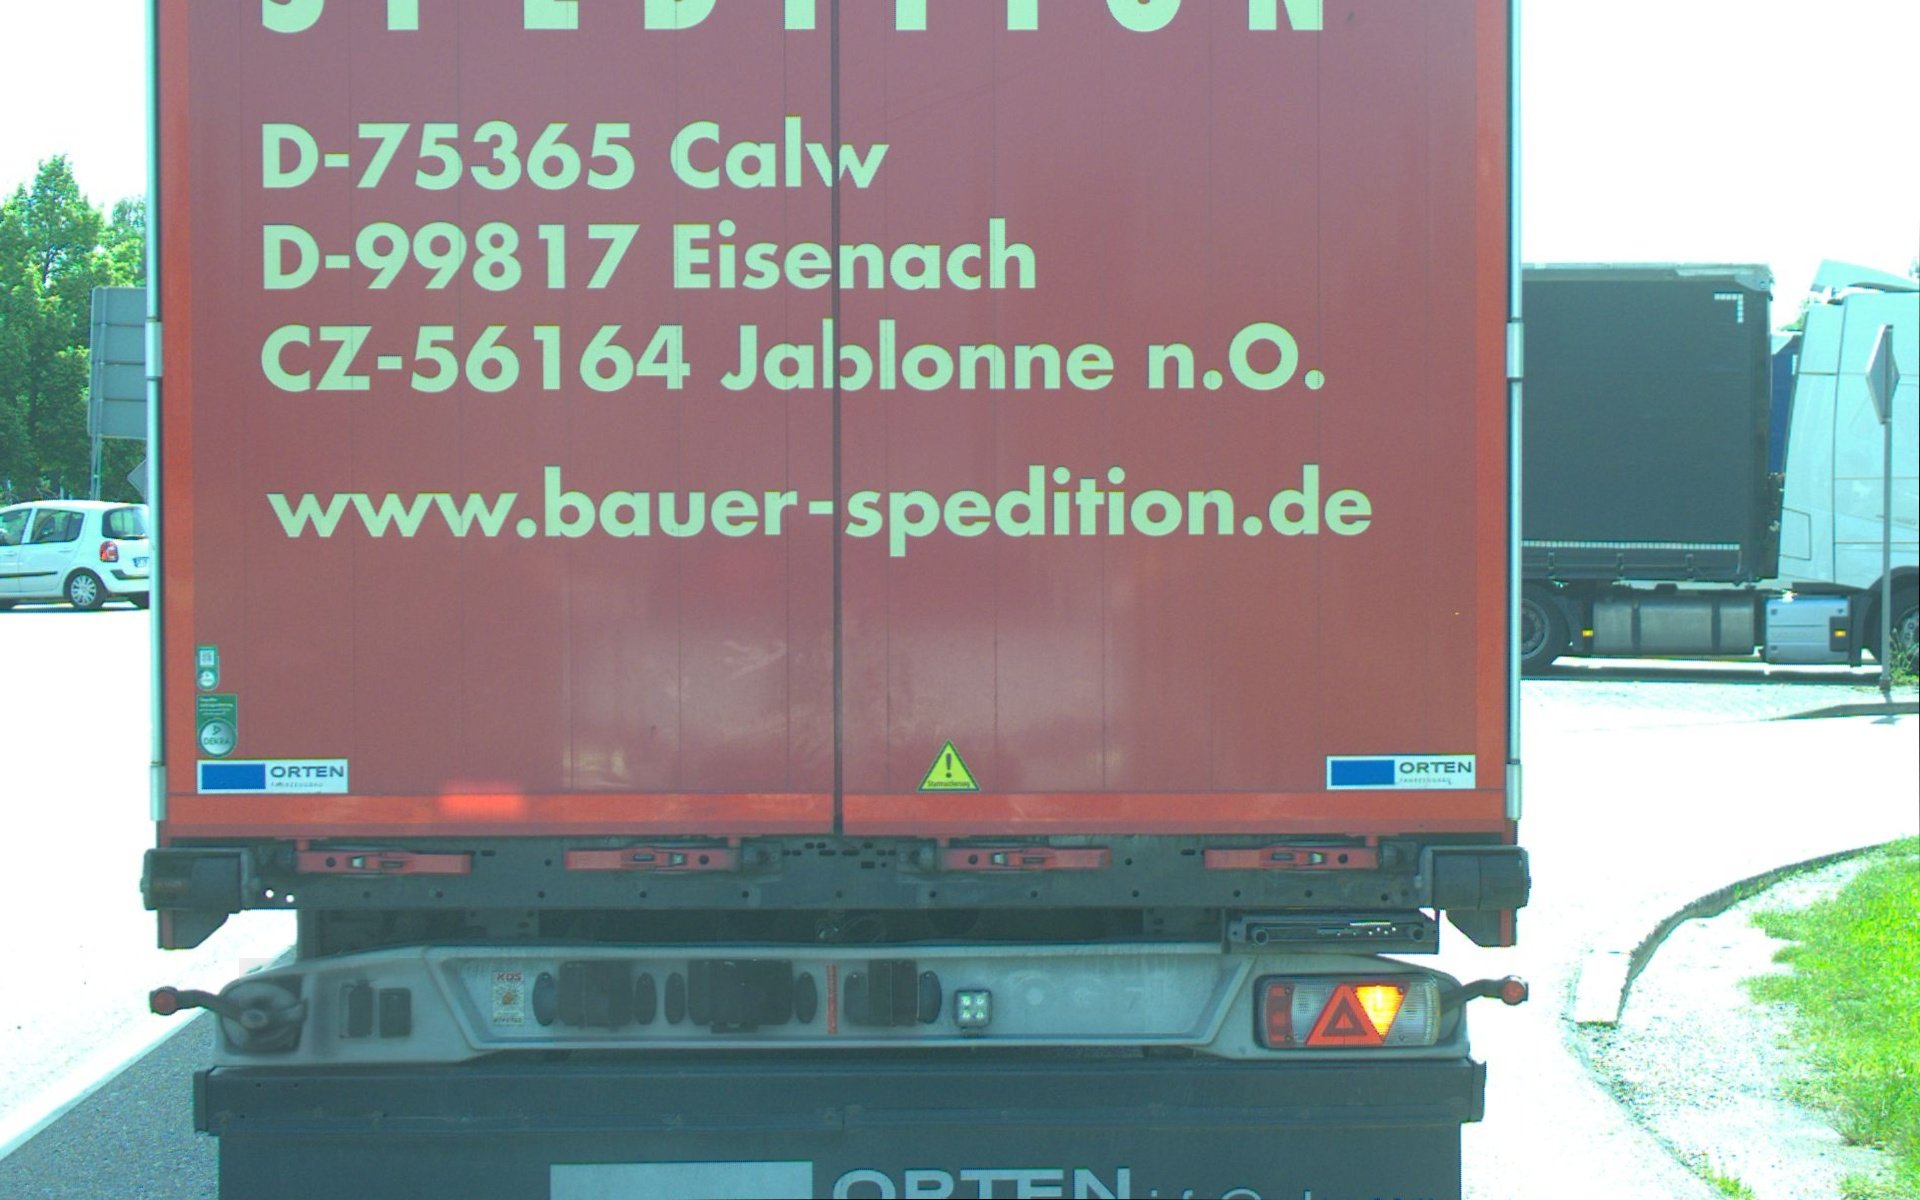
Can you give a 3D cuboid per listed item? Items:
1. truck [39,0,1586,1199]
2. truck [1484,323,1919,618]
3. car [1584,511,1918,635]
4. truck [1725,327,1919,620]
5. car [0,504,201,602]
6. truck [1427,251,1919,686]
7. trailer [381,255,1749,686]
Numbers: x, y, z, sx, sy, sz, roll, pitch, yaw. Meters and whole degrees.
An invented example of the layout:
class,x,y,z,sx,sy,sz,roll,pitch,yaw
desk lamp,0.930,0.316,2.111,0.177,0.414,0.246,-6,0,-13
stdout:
class,x,y,z,sx,sy,sz,roll,pitch,yaw
truck,-0.390,-0.792,14.413,2.734,3.911,16.627,0,1,-1
truck,11.163,-1.850,48.709,6.936,3.980,3.025,1,2,18
car,9.900,-0.341,43.220,3.997,1.486,1.537,1,0,11
truck,17.807,-1.645,46.409,14.295,3.966,3.025,1,2,19
car,-13.078,-0.687,49.614,3.852,1.352,1.675,1,1,20
truck,7.597,-1.302,33.732,5.828,4.047,2.797,1,2,9
trailer,1.022,-1.403,35.245,13.692,4.047,2.797,1,2,13
